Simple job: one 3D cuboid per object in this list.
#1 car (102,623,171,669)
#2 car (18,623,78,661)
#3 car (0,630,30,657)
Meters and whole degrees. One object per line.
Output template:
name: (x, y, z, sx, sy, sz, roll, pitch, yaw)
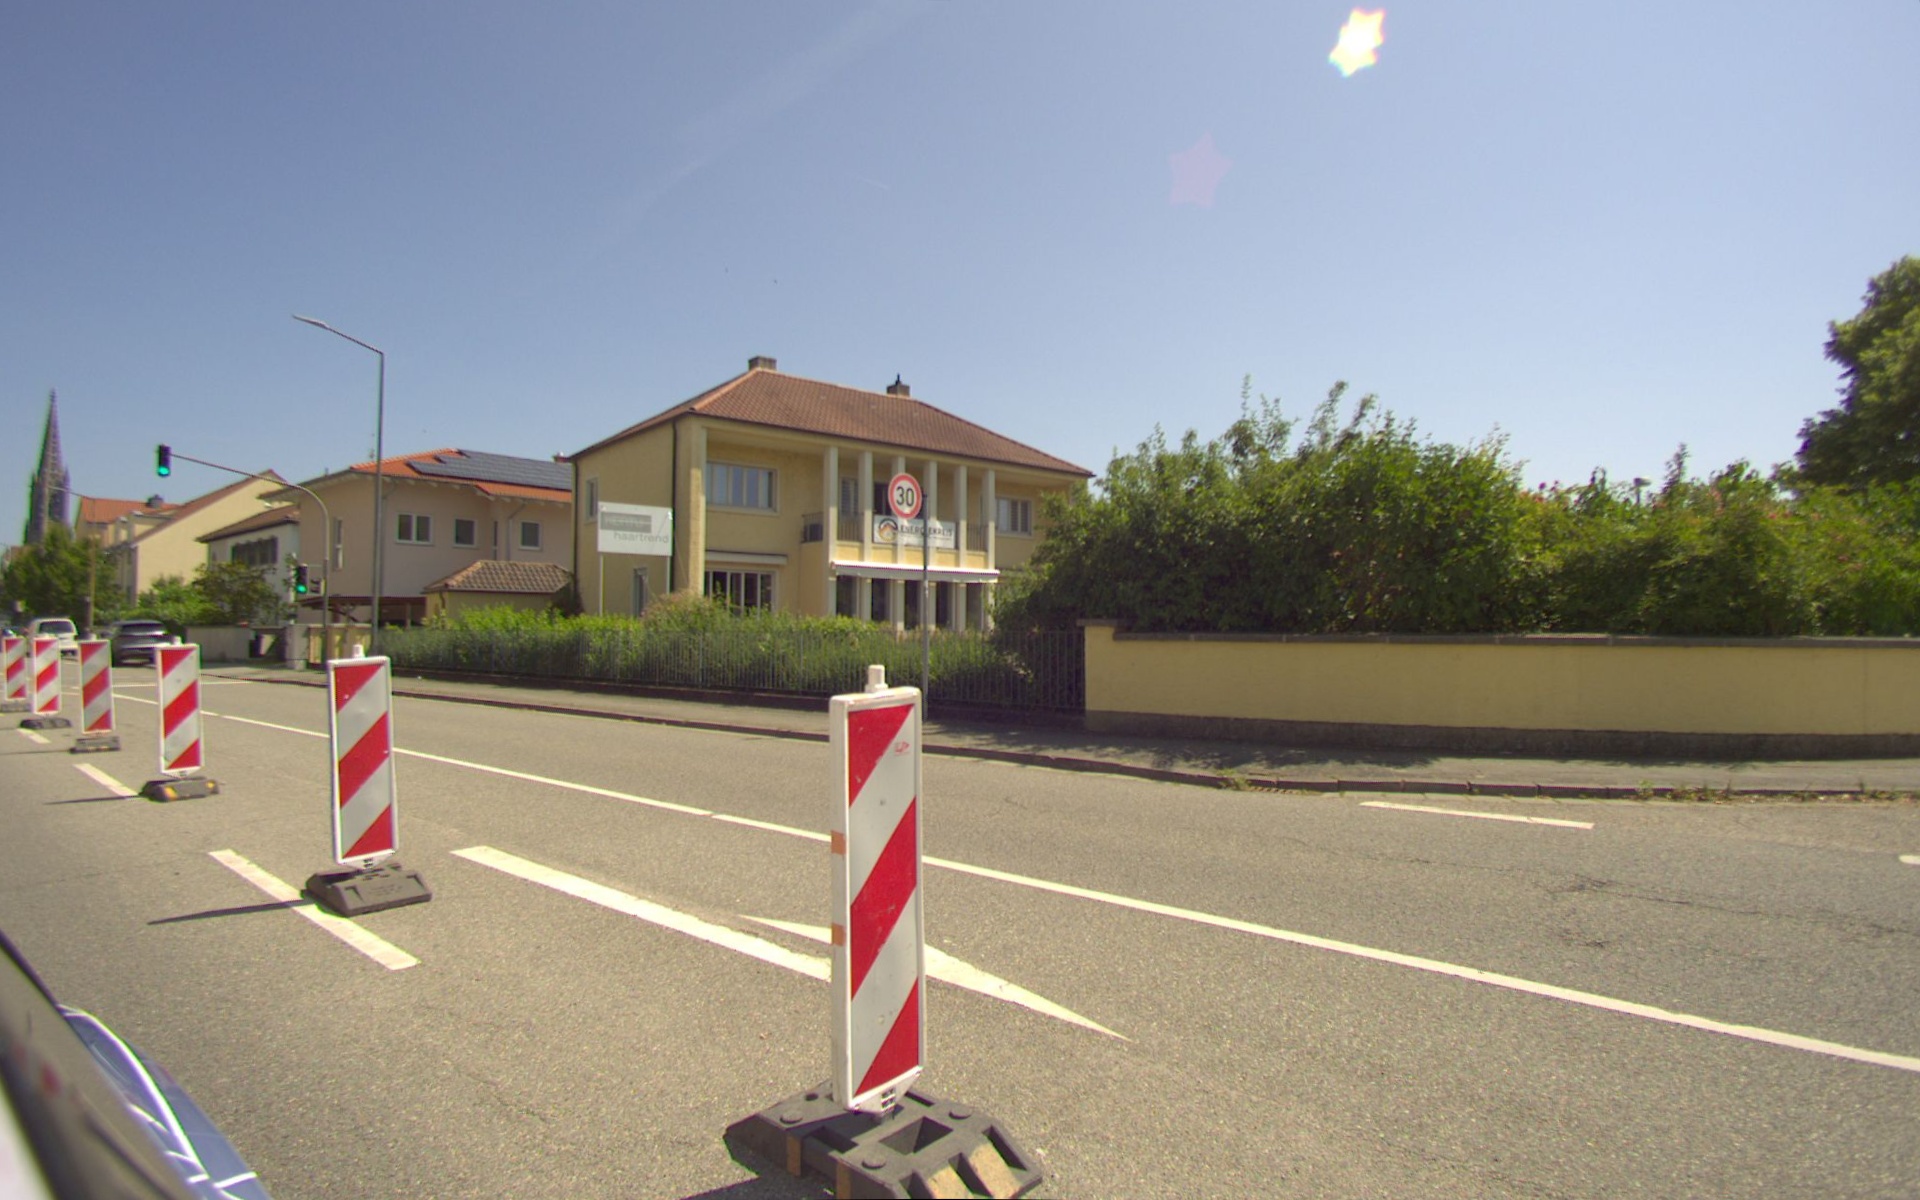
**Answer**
car: (-29.860, 1.648, 36.683, 3.319, 1.589, 1.371, -2, -3, 41)
car: (-44.852, 2.048, 49.773, 3.888, 1.800, 1.696, -2, -3, 41)
car: (-57.901, 2.640, 61.518, 3.512, 1.617, 1.603, -2, -3, 41)
